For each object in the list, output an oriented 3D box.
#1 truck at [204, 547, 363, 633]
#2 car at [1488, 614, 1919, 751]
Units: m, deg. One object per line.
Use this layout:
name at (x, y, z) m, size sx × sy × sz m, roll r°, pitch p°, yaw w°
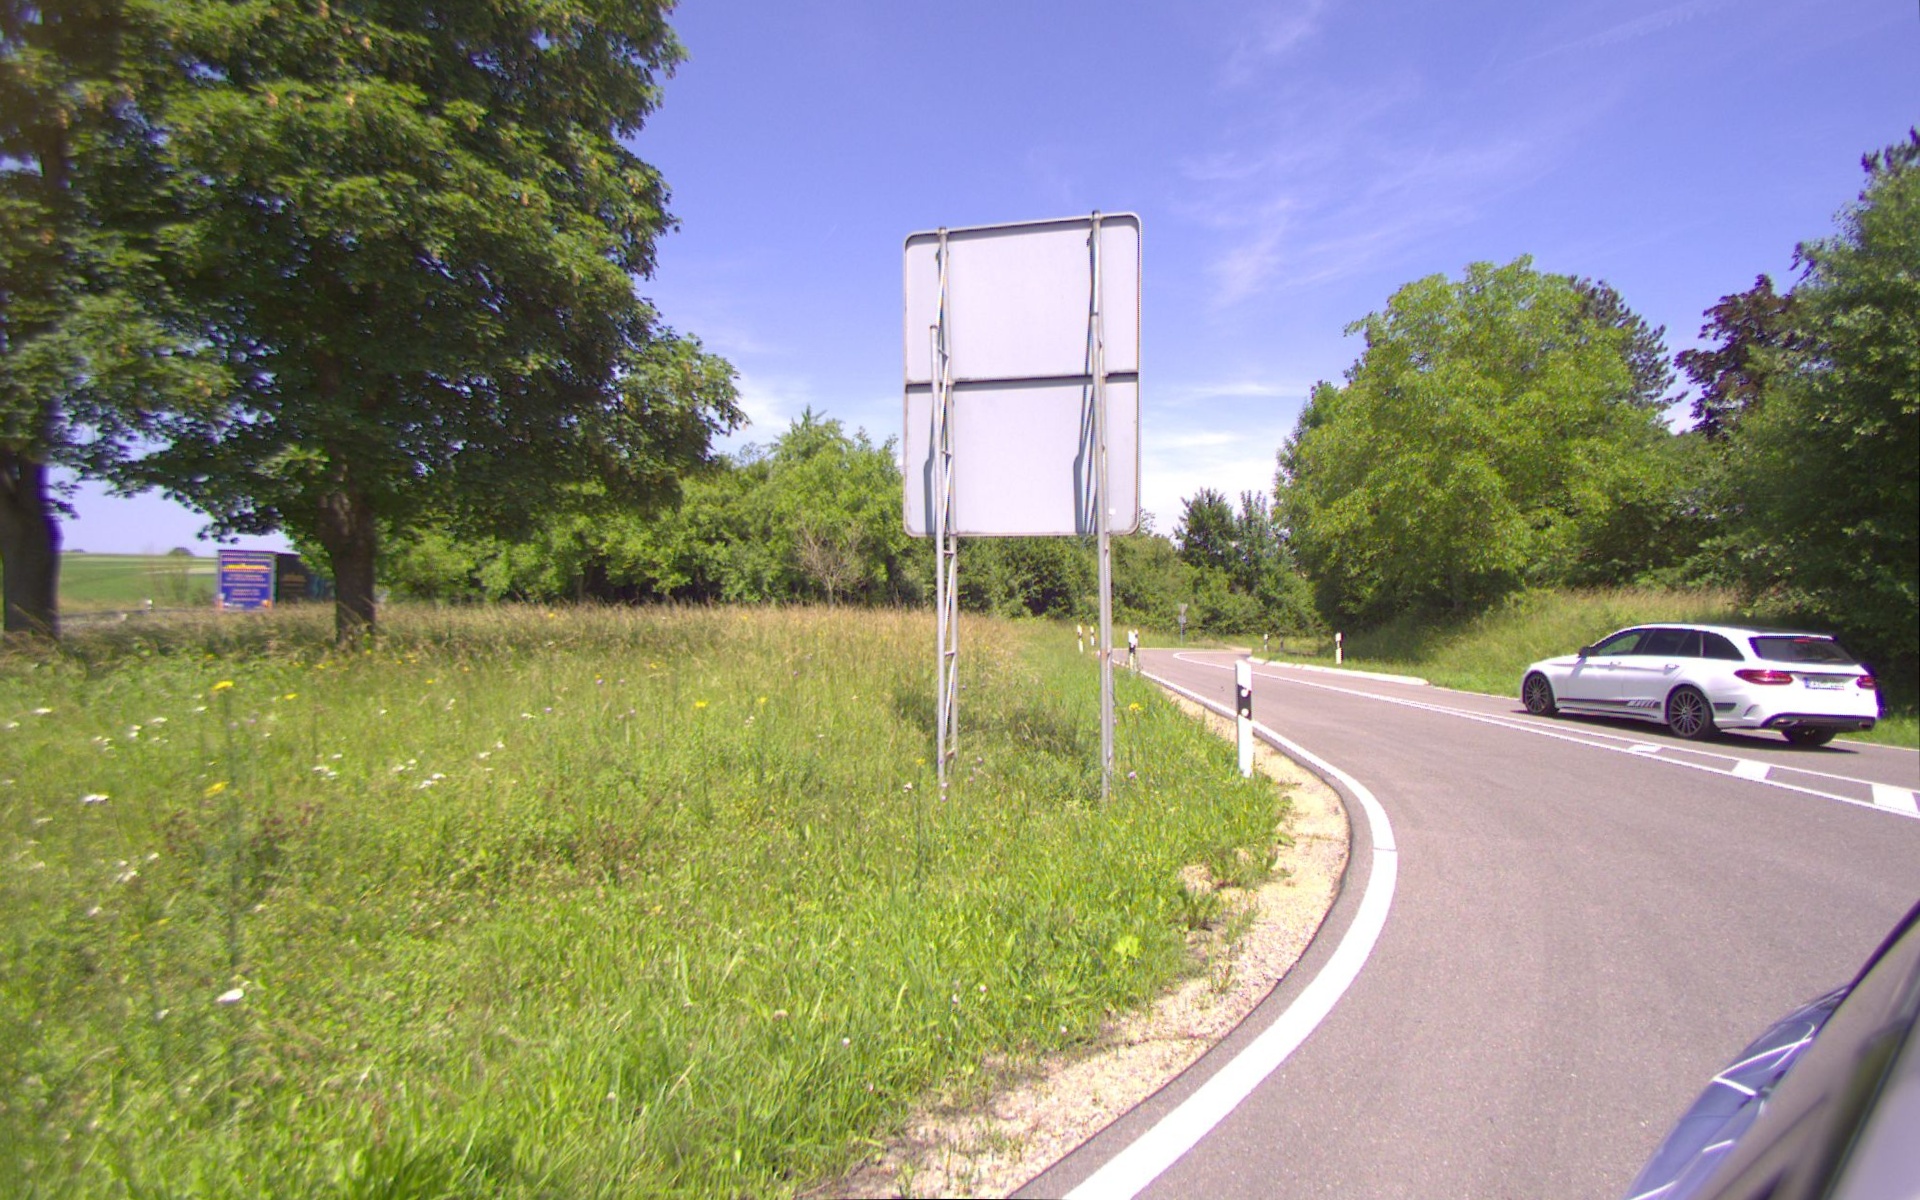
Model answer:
truck at (-38.066, -0.475, 57.957) m, size 2.792 × 4.184 × 16.846 m, roll 1°, pitch 0°, yaw -17°
car at (9.789, 0.970, 13.997) m, size 1.774 × 1.430 × 5.339 m, roll 2°, pitch 0°, yaw -5°
